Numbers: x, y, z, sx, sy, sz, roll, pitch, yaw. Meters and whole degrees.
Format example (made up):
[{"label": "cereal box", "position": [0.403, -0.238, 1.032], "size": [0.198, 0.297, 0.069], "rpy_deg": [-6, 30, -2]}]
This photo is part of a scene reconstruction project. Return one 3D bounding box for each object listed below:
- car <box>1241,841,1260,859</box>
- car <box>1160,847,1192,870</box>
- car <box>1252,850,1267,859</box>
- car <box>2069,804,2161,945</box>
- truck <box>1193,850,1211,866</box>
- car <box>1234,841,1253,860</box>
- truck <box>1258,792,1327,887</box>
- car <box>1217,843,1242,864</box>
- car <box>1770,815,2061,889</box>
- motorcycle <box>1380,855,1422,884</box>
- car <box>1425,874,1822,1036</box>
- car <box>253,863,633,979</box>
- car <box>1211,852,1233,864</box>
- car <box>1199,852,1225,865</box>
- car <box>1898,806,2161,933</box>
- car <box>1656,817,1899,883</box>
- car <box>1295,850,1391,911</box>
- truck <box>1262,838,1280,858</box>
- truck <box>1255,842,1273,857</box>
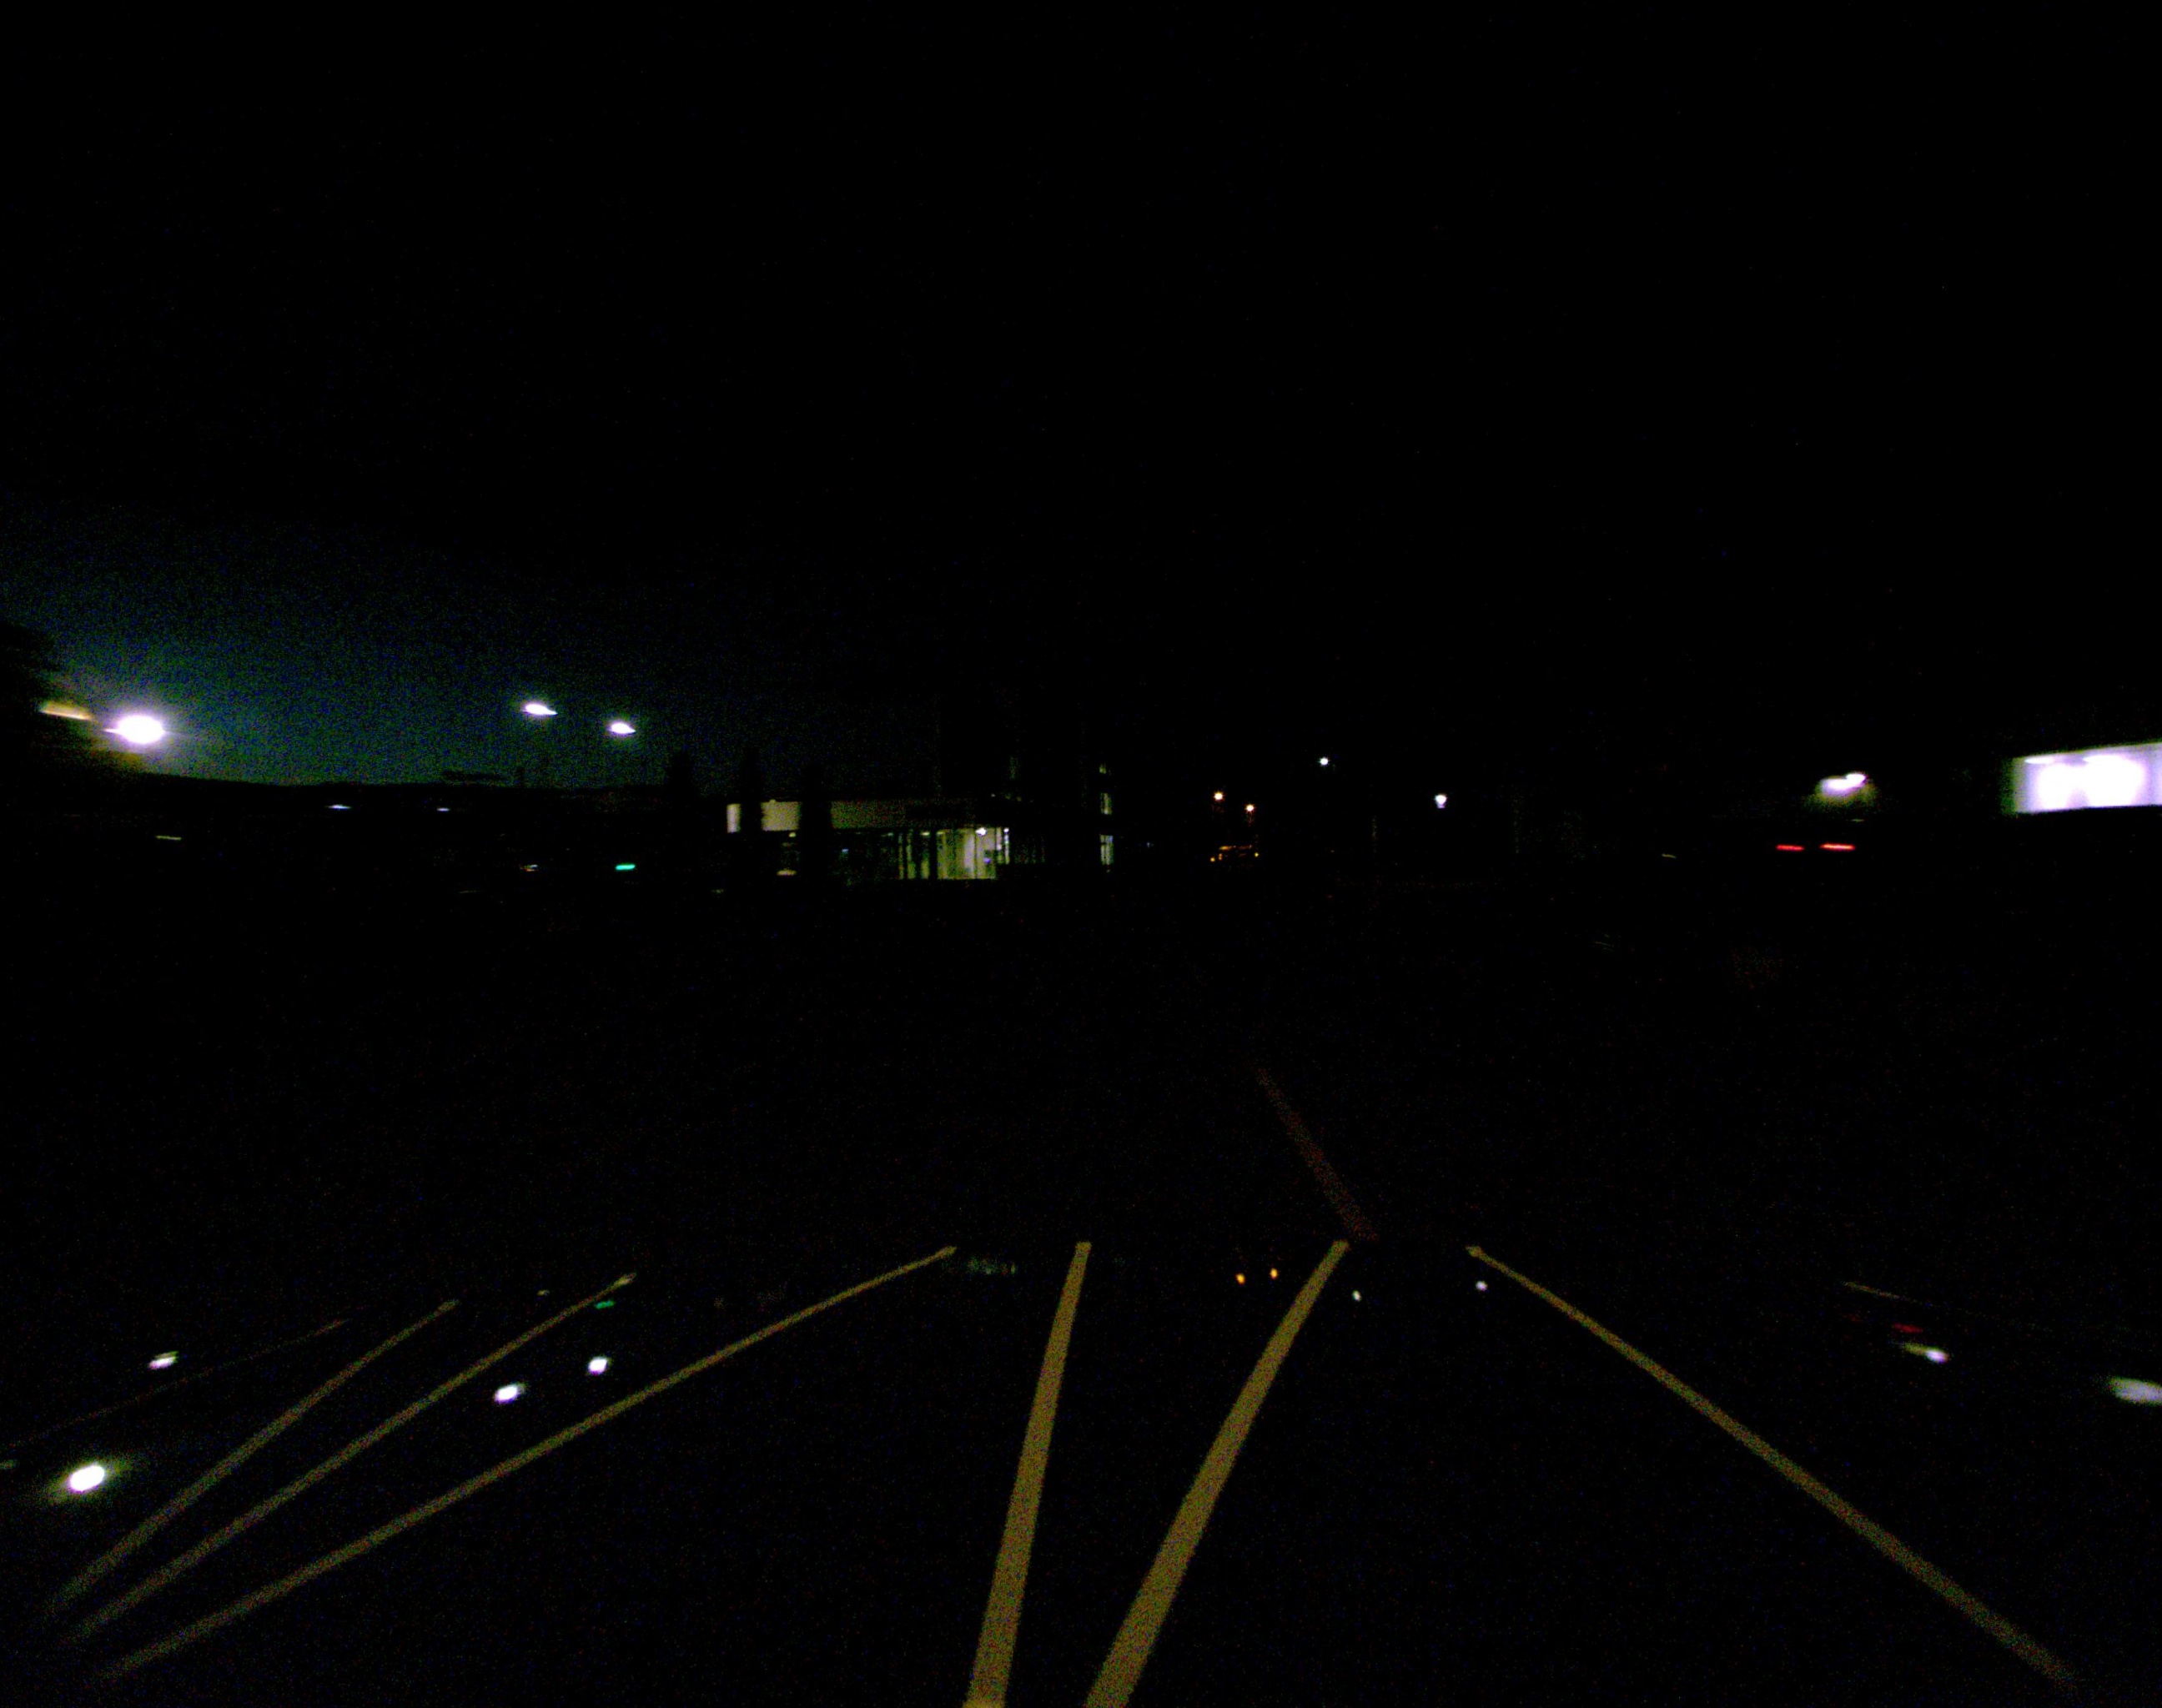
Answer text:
[{"label": "car", "position": [27.091, -0.641, 121.528], "size": [1.996, 2.555, 6.022], "rpy_deg": [-5, -1, 20]}, {"label": "car", "position": [8.983, 0.381, 71.521], "size": [1.996, 2.002, 4.918], "rpy_deg": [-1, 0, 20]}, {"label": "car", "position": [31.837, 0.111, 135.364], "size": [1.832, 1.399, 4.915], "rpy_deg": [-5, -1, 20]}, {"label": "car", "position": [16.076, 0.206, 9.611], "size": [4.414, 1.805, 1.963], "rpy_deg": [-1, 0, 3]}, {"label": "truck", "position": [13.609, 0.436, 85.323], "size": [1.372, 1.635, 3.817], "rpy_deg": [-2, 0, 19]}, {"label": "car", "position": [24.671, -0.530, 114.948], "size": [2.131, 2.555, 5.917], "rpy_deg": [-5, -1, 17]}, {"label": "truck", "position": [10.355, -0.669, 38.047], "size": [2.777, 4.096, 9.350], "rpy_deg": [-2, 0, 13]}, {"label": "car", "position": [19.945, -0.110, 101.978], "size": [1.996, 2.510, 5.918], "rpy_deg": [-5, -1, 22]}, {"label": "car", "position": [18.721, -0.036, 17.228], "size": [4.414, 1.444, 1.828], "rpy_deg": [-2, 0, 3]}, {"label": "motorcycle", "position": [13.844, 0.655, 32.875], "size": [1.693, 1.095, 0.530], "rpy_deg": [-5, 2, -19]}, {"label": "car", "position": [6.009, 0.996, 9.231], "size": [1.818, 1.363, 4.361], "rpy_deg": [1, 0, 2]}, {"label": "car", "position": [-9.831, 0.993, 12.008], "size": [4.337, 1.636, 1.892], "rpy_deg": [1, 0, -2]}, {"label": "car", "position": [17.781, 0.481, 95.736], "size": [1.771, 1.404, 4.557], "rpy_deg": [-2, 0, 22]}, {"label": "car", "position": [15.465, 0.521, 89.695], "size": [1.948, 1.480, 5.018], "rpy_deg": [-2, 0, 22]}, {"label": "car", "position": [16.481, 0.181, 12.116], "size": [4.618, 1.805, 1.963], "rpy_deg": [-2, 0, 3]}, {"label": "car", "position": [17.831, -0.100, 19.644], "size": [4.414, 1.474, 1.892], "rpy_deg": [-2, 0, 3]}, {"label": "car", "position": [7.670, 0.706, 22.675], "size": [1.870, 1.583, 4.497], "rpy_deg": [-2, 0, 9]}, {"label": "truck", "position": [38.067, -1.182, 152.118], "size": [2.769, 3.741, 5.235], "rpy_deg": [-3, 0, 20]}, {"label": "truck", "position": [34.430, -0.824, 142.787], "size": [2.404, 2.578, 6.607], "rpy_deg": [-2, 0, 22]}]
